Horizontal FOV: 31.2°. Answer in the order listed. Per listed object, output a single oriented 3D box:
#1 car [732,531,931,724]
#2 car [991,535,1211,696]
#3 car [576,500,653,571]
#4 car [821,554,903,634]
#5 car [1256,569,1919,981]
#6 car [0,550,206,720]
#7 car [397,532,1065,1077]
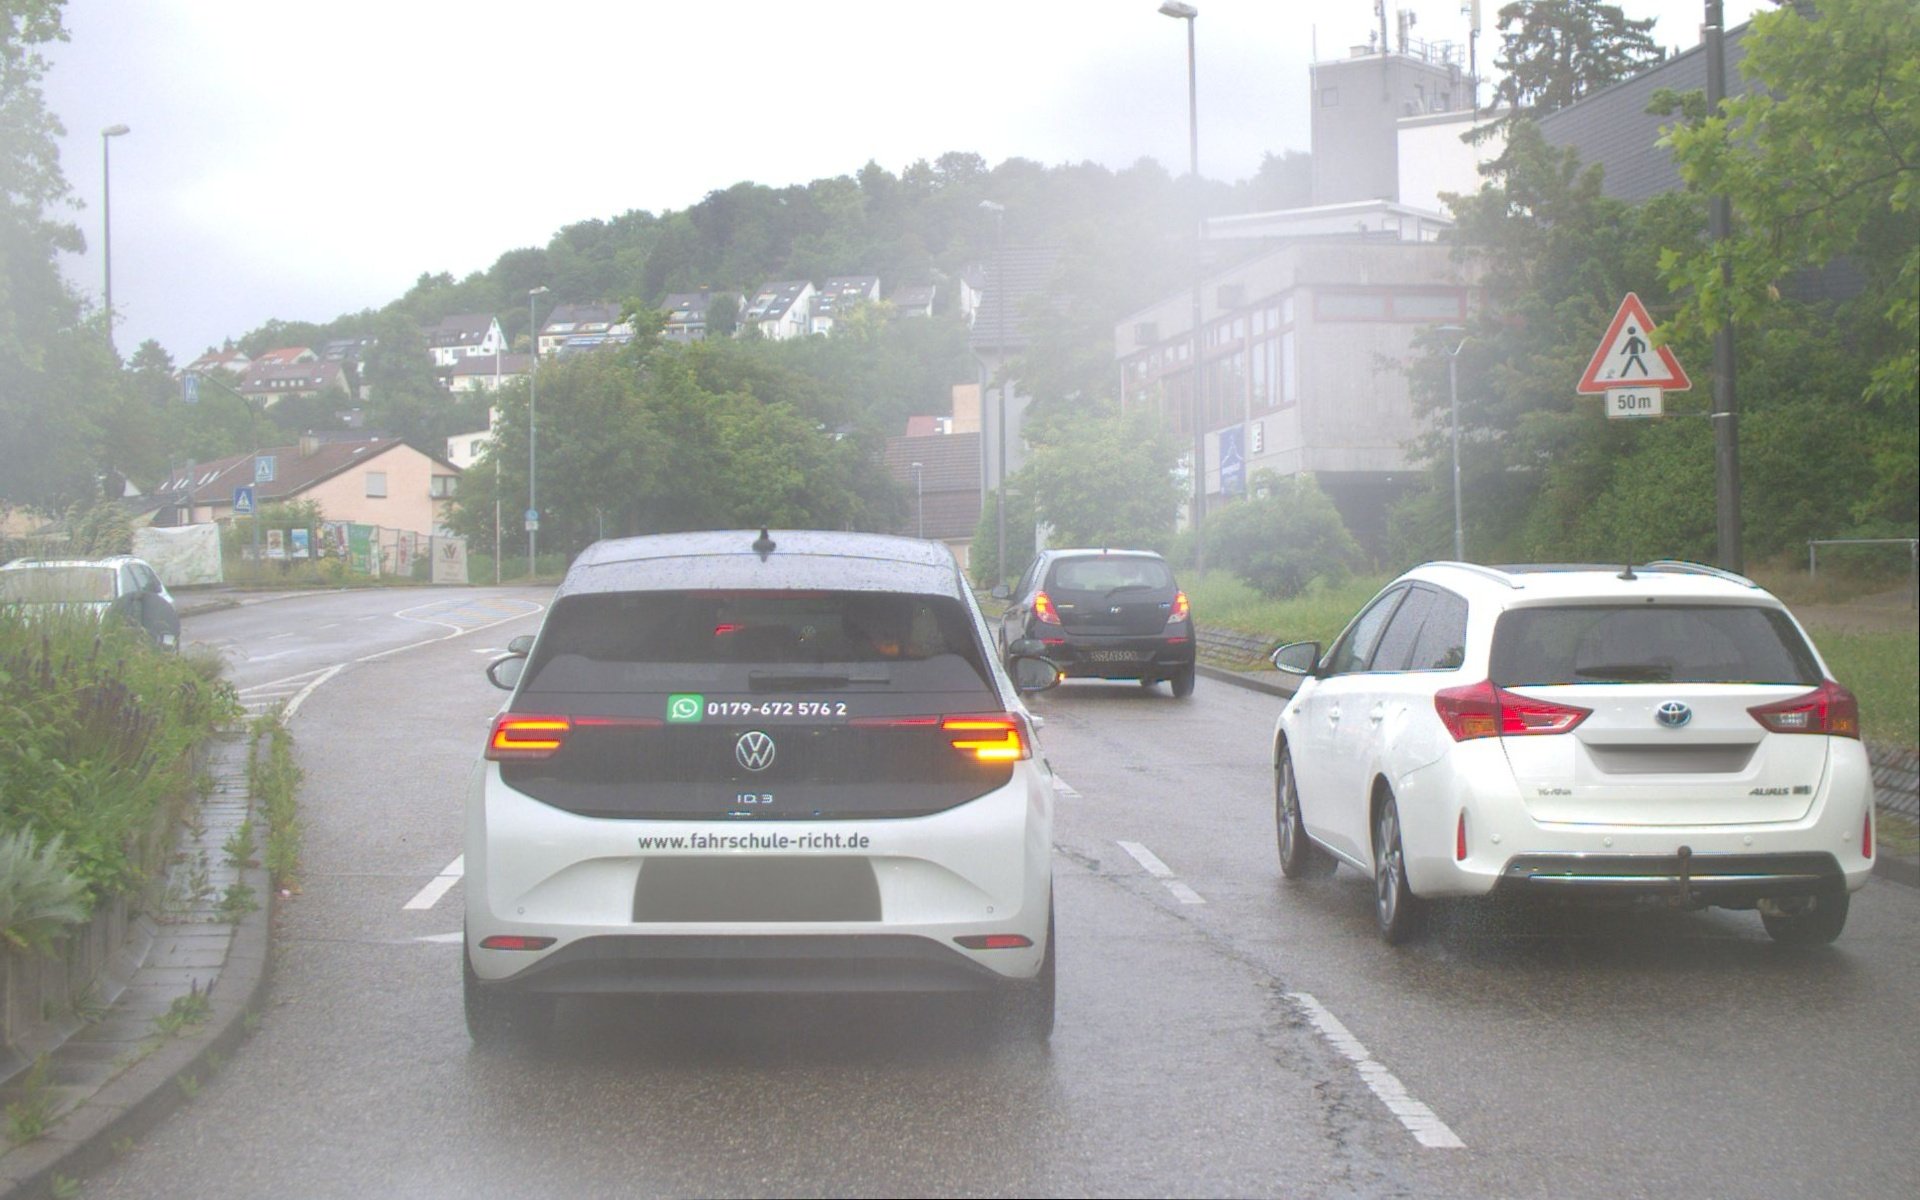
[{"bbox_3d":[-1.120,0.179,29.369,1.567,1.525,4.001,0,1,-3],"label":"car"},{"bbox_3d":[1.367,0.144,34.818,1.993,1.448,3.771,-3,0,0],"label":"car"},{"bbox_3d":[-10.185,-1.881,101.585,1.993,2.007,4.000,1,0,-2],"label":"car"},{"bbox_3d":[-2.510,-0.145,88.956,1.993,2.007,4.000,1,0,0],"label":"car"},{"bbox_3d":[2.405,0.596,13.916,1.848,1.405,4.302,0,0,-3],"label":"car"},{"bbox_3d":[-9.420,0.333,36.223,1.993,1.656,4.598,-1,1,-1],"label":"car"},{"bbox_3d":[-0.637,0.559,11.510,1.828,1.495,4.168,0,0,0],"label":"car"}]
